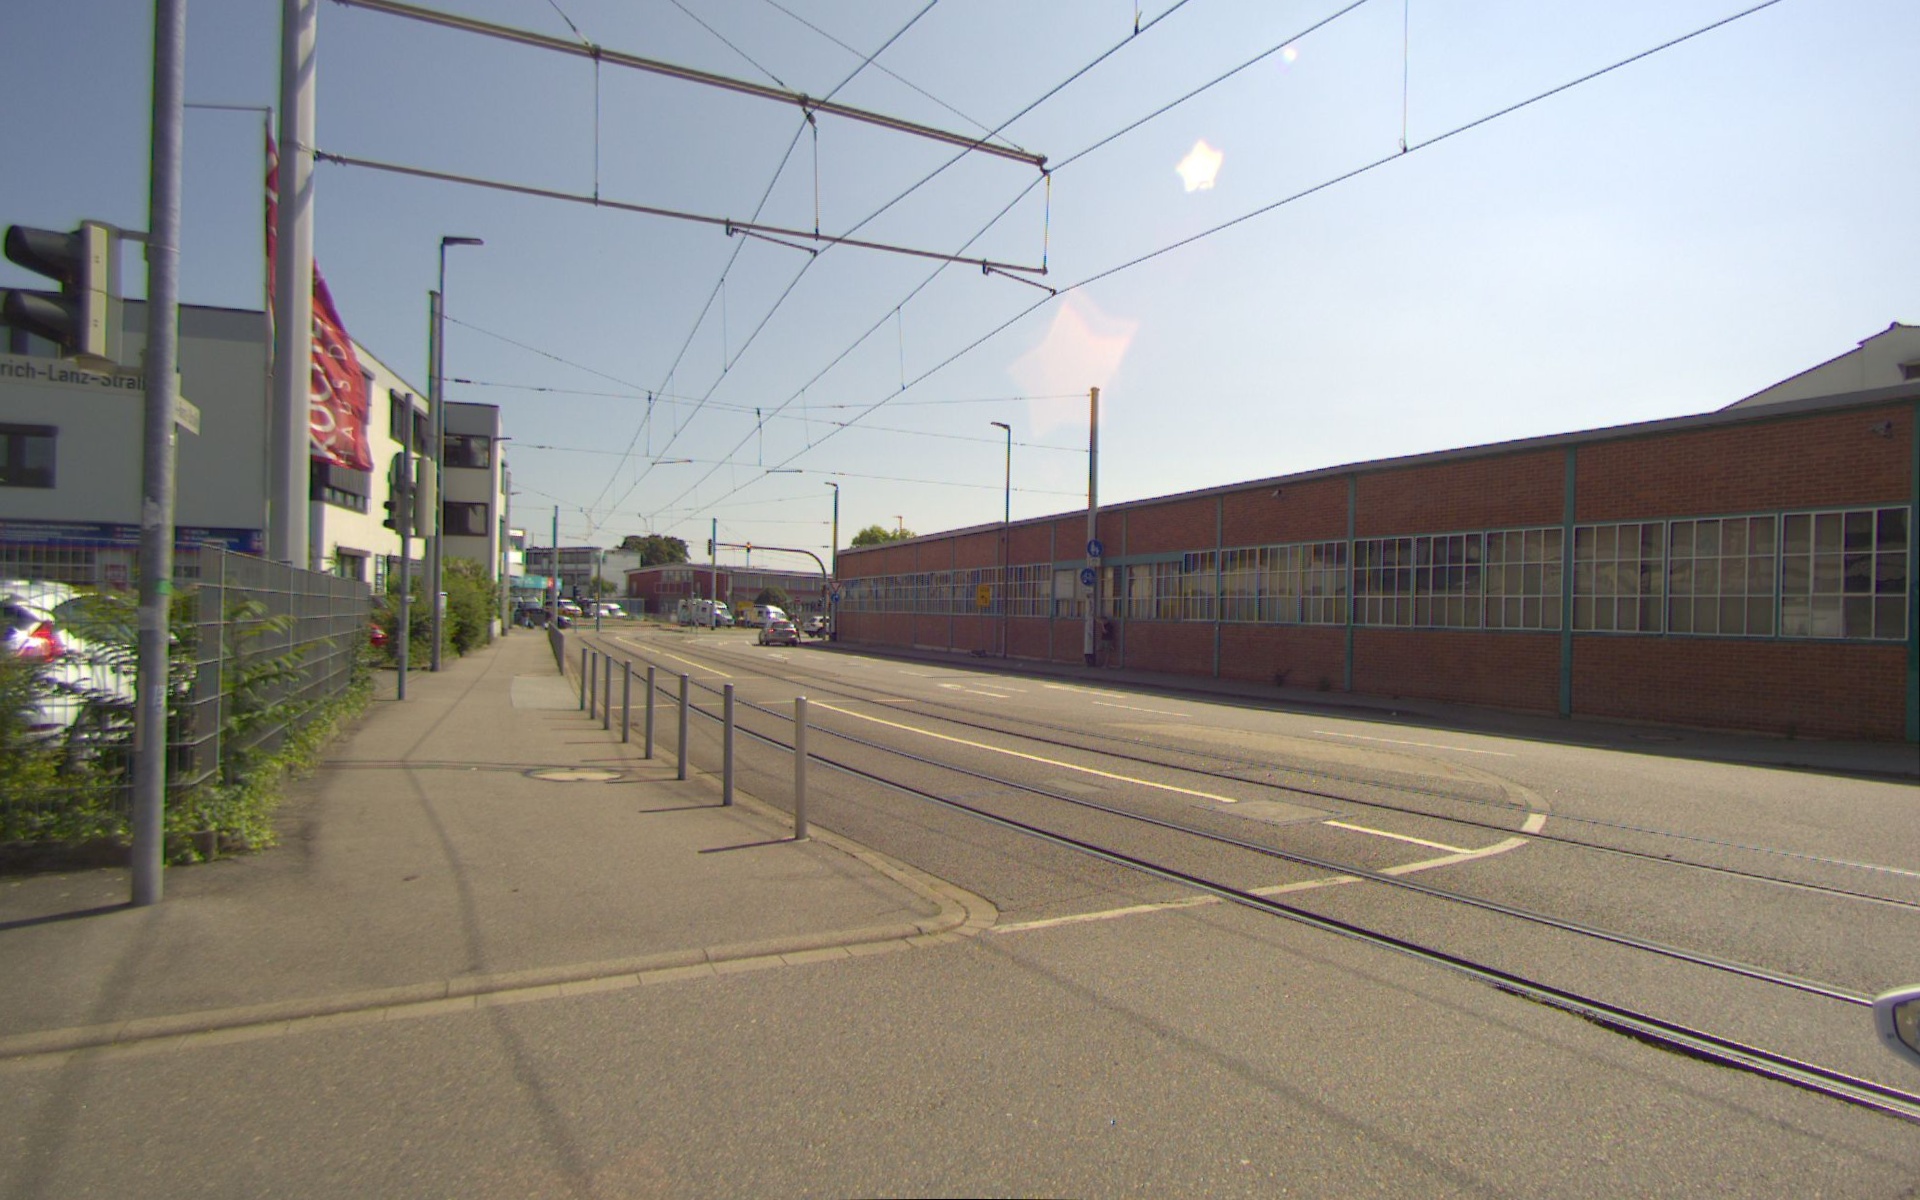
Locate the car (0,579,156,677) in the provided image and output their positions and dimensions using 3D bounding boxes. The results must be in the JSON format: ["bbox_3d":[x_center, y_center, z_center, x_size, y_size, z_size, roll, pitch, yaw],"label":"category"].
[{"bbox_3d":[-18.537,0.539,20.368,1.967,1.808,3.988,1,-1,-15],"label":"car"}]

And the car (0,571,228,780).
[{"bbox_3d":[-7.878,0.549,8.610,1.689,1.452,3.933,3,-2,-23],"label":"car"}]

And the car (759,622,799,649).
[{"bbox_3d":[-10.550,2.055,58.327,1.724,1.478,3.984,1,-1,-18],"label":"car"}]

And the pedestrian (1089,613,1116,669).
[{"bbox_3d":[4.676,1.341,32.989,0.676,1.788,0.447,2,1,-22],"label":"pedestrian"}]

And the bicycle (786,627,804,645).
[{"bbox_3d":[-10.404,2.273,63.241,0.784,1.035,2.142,2,-1,-18],"label":"bicycle"}]

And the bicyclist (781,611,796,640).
[{"bbox_3d":[-11.108,1.660,65.053,0.699,1.834,0.978,2,-1,-20],"label":"bicyclist"}]

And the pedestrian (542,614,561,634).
[{"bbox_3d":[-29.878,1.767,73.504,1.121,1.474,0.830,2,-1,-32],"label":"pedestrian"}]

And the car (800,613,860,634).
[{"bbox_3d":[-10.426,1.905,80.371,4.344,1.599,1.984,2,-1,-31],"label":"car"}]

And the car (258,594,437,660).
[{"bbox_3d":[-17.052,0.779,28.209,3.941,1.728,1.990,2,-1,-21],"label":"car"}]

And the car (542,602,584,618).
[{"bbox_3d":[-44.523,1.114,112.586,5.037,1.782,1.939,0,-1,35],"label":"car"}]

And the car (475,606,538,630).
[{"bbox_3d":[-32.715,1.306,72.525,3.939,1.539,1.991,2,1,-20],"label":"car"}]

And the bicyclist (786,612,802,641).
[{"bbox_3d":[-10.420,1.663,63.028,0.776,1.744,1.142,2,-1,-19],"label":"bicyclist"}]

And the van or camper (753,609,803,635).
[{"bbox_3d":[-20.494,2.494,113.171,5.292,2.473,2.284,5,2,32],"label":"van or camper"}]

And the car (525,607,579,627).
[{"bbox_3d":[-33.360,1.398,82.204,3.938,1.528,1.872,2,-1,-19],"label":"car"}]

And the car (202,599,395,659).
[{"bbox_3d":[-16.842,0.752,25.792,3.778,1.388,1.740,2,-1,-20],"label":"car"}]

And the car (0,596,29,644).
[{"bbox_3d":[-29.515,0.594,29.715,1.397,1.445,3.126,1,-1,-11],"label":"car"}]

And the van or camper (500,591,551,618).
[{"bbox_3d":[-42.495,0.429,98.116,5.720,2.327,2.030,3,1,38],"label":"van or camper"}]

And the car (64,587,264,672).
[{"bbox_3d":[-16.436,0.601,21.002,1.826,1.588,3.923,1,-1,-15],"label":"car"}]

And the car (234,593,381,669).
[{"bbox_3d":[-14.654,0.689,22.798,1.713,1.562,3.823,1,-1,-16],"label":"car"}]

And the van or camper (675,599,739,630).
[{"bbox_3d":[-27.841,1.543,110.494,6.855,2.970,2.351,3,1,26],"label":"van or camper"}]
